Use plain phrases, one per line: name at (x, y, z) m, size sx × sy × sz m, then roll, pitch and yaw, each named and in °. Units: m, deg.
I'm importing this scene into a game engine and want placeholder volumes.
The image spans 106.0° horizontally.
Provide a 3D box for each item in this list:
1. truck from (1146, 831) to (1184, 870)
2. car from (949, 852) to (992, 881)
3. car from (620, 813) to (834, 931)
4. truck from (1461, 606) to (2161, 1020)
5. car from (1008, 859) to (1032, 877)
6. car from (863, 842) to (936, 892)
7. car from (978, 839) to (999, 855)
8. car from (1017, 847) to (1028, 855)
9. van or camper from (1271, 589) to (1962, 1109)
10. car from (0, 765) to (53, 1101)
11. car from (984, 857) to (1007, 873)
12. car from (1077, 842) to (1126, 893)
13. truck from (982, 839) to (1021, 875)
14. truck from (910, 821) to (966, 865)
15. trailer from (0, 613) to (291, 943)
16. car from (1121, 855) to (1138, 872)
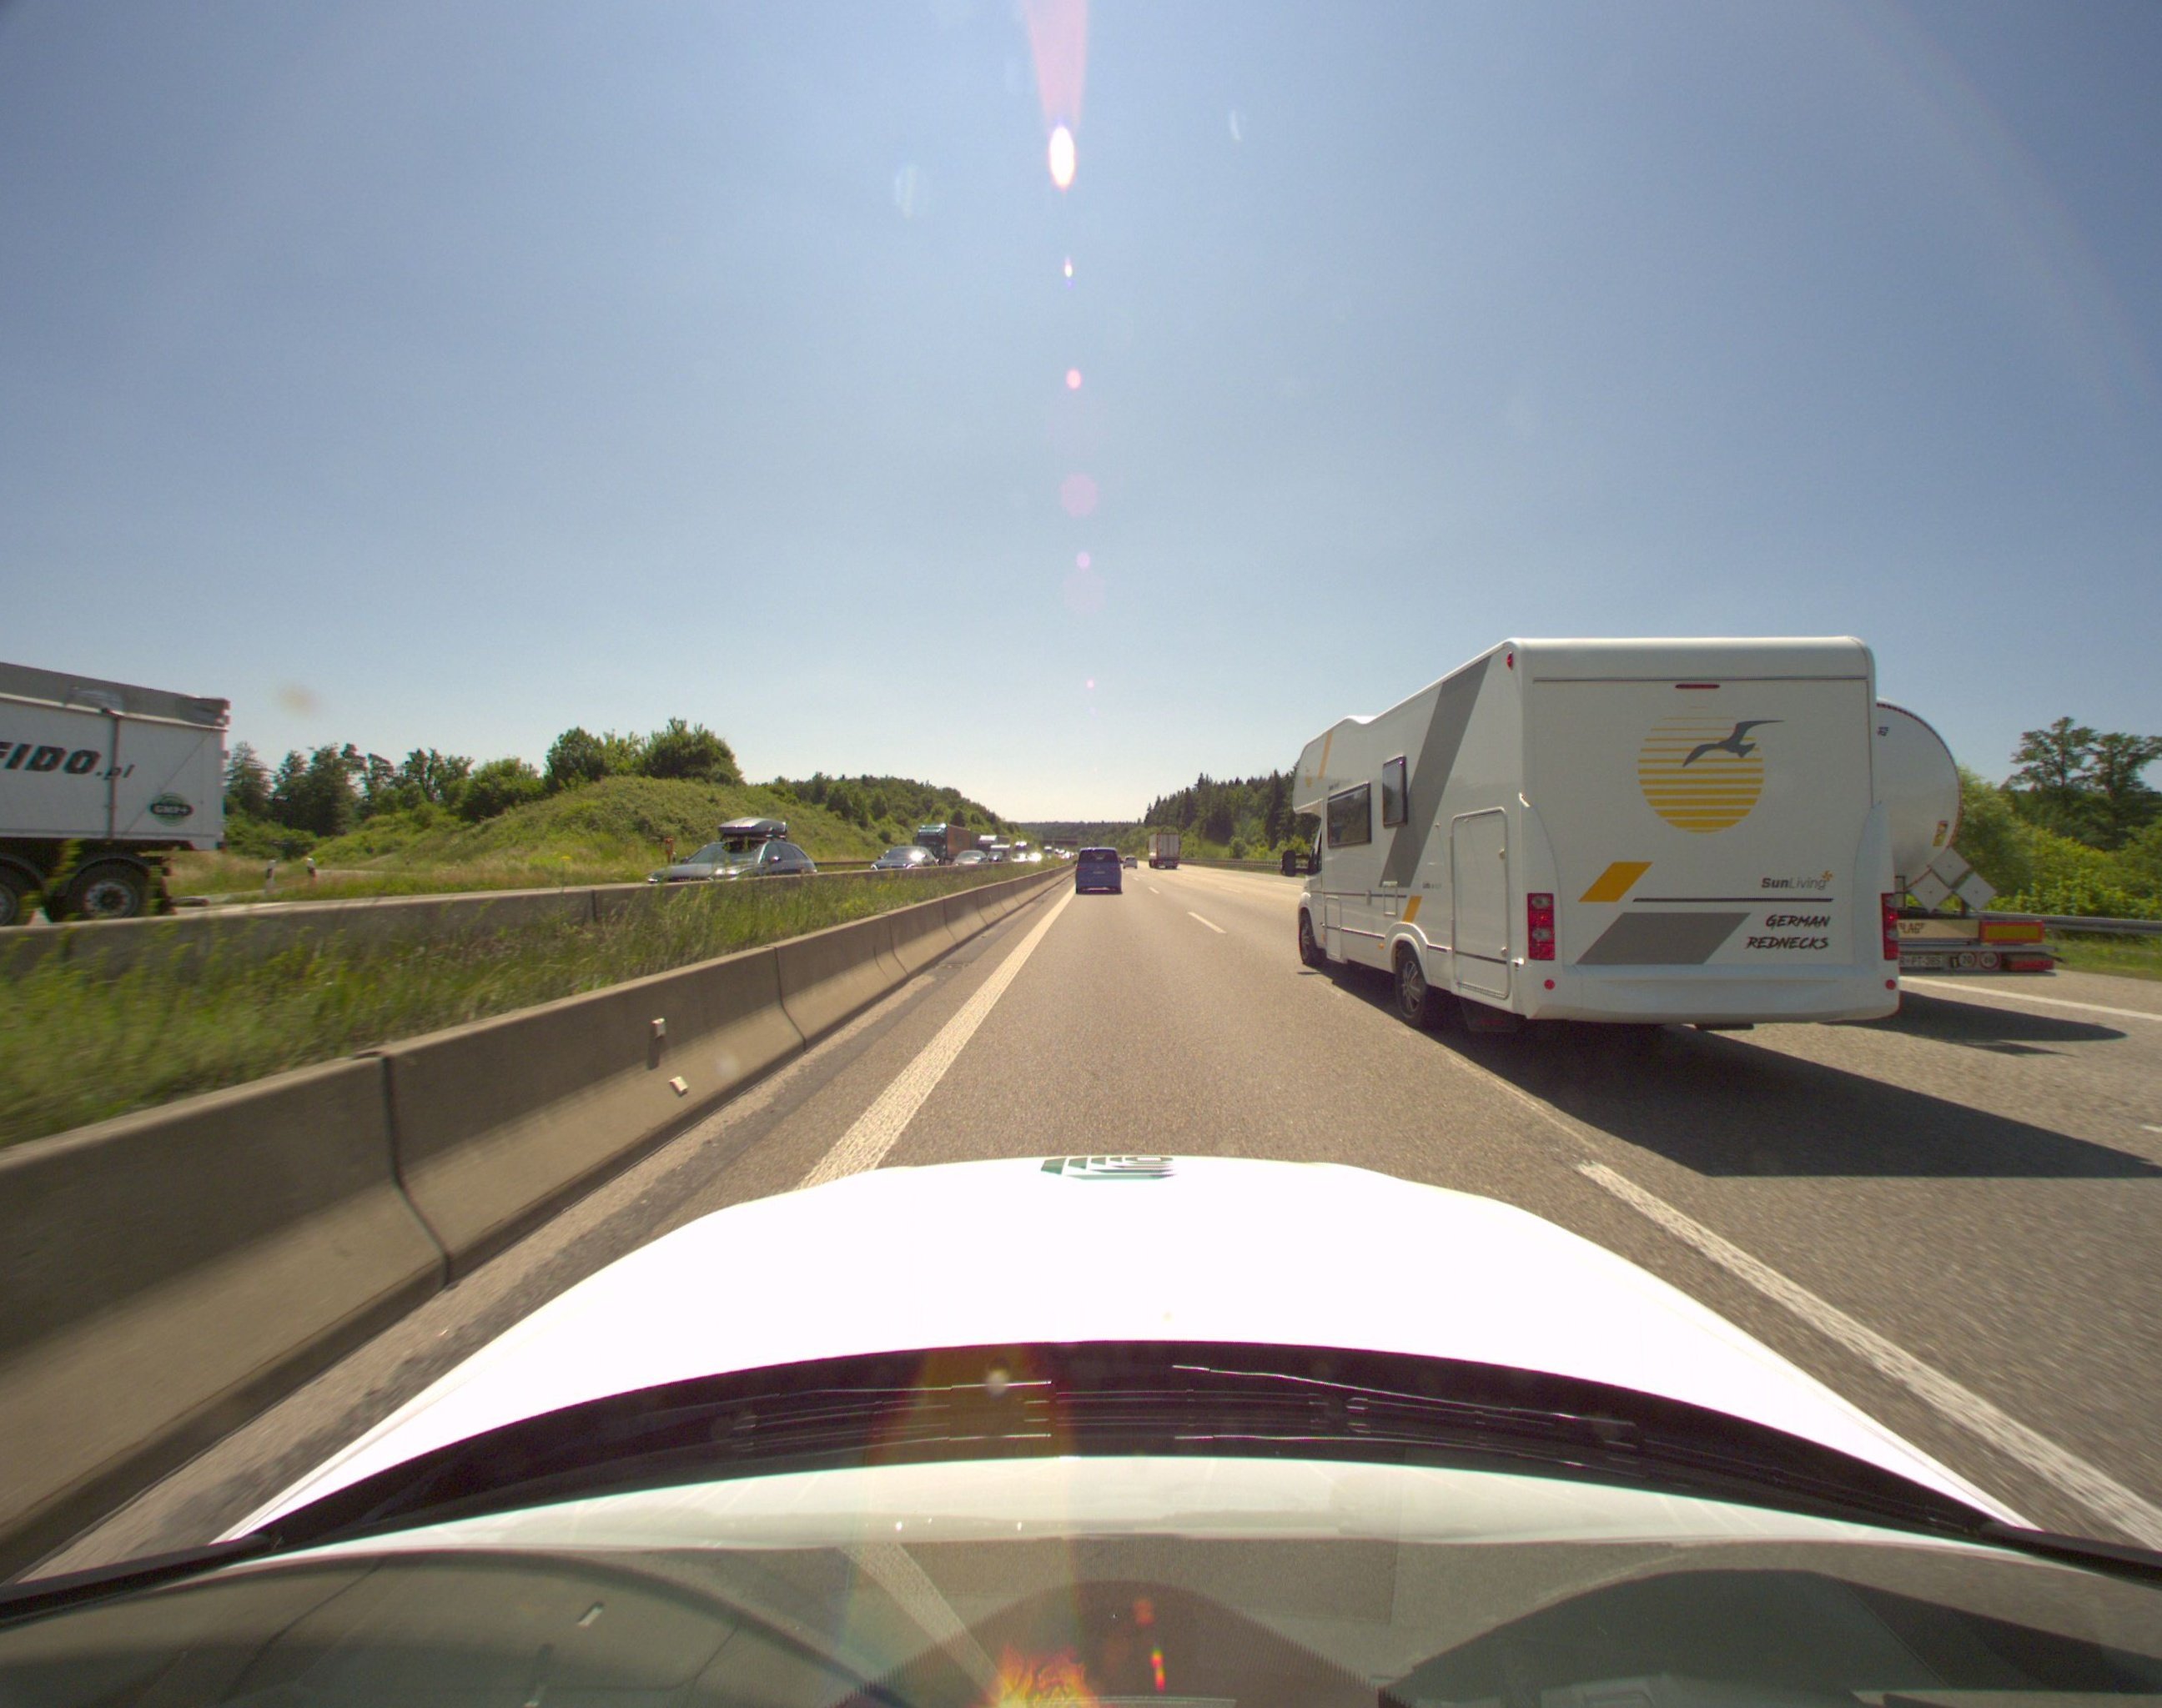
truck at (9.650, -0.384, 94.143) m, size 3.475 × 4.170 × 8.643 m, roll 3°, pitch 0°, yaw 1°
car at (-6.471, 0.713, 47.913) m, size 1.781 × 1.546 × 4.001 m, roll 3°, pitch 0°, yaw 2°
car at (-7.106, 0.340, 17.124) m, size 1.986 × 2.013 × 5.165 m, roll 3°, pitch 0°, yaw 2°
truck at (8.648, -0.430, 11.359) m, size 2.917 × 3.575 × 8.530 m, roll -1°, pitch 1°, yaw 2°
car at (-5.771, 1.294, 77.525) m, size 1.781 × 1.546 × 4.001 m, roll 3°, pitch 0°, yaw 2°
car at (-7.080, 0.497, 32.152) m, size 1.781 × 1.753 × 4.001 m, roll 3°, pitch 0°, yaw 2°
car at (-12.699, -0.891, 111.815) m, size 2.078 × 2.063 × 5.061 m, roll 3°, pitch 0°, yaw 2°
car at (-11.632, -0.570, 161.984) m, size 1.598 × 1.470 × 3.898 m, roll 3°, pitch 0°, yaw 2°
van or camper at (4.005, -0.031, 8.424) m, size 2.593 × 3.078 × 7.184 m, roll 0°, pitch 0°, yaw 1°
car at (-7.515, 0.414, 2.481) m, size 1.986 × 2.013 × 5.165 m, roll 3°, pitch 0°, yaw 2°
car at (-9.088, 1.177, 86.662) m, size 1.781 × 1.546 × 4.001 m, roll 3°, pitch 0°, yaw 2°
car at (0.870, 0.542, 34.408) m, size 1.902 × 2.014 × 4.001 m, roll 0°, pitch 0°, yaw 1°
truck at (-9.185, 0.339, 95.591) m, size 2.982 × 3.803 × 12.163 m, roll 3°, pitch 0°, yaw 1°
truck at (-13.671, -0.965, 78.949) m, size 2.982 × 3.803 × 12.163 m, roll 3°, pitch 0°, yaw 1°
trailer at (-15.255, -0.942, 7.961) m, size 3.565 × 4.093 × 11.541 m, roll 0°, pitch 0°, yaw 1°
car at (5.710, 1.123, 96.772) m, size 1.811 × 1.794 × 3.895 m, roll 3°, pitch 0°, yaw 1°
